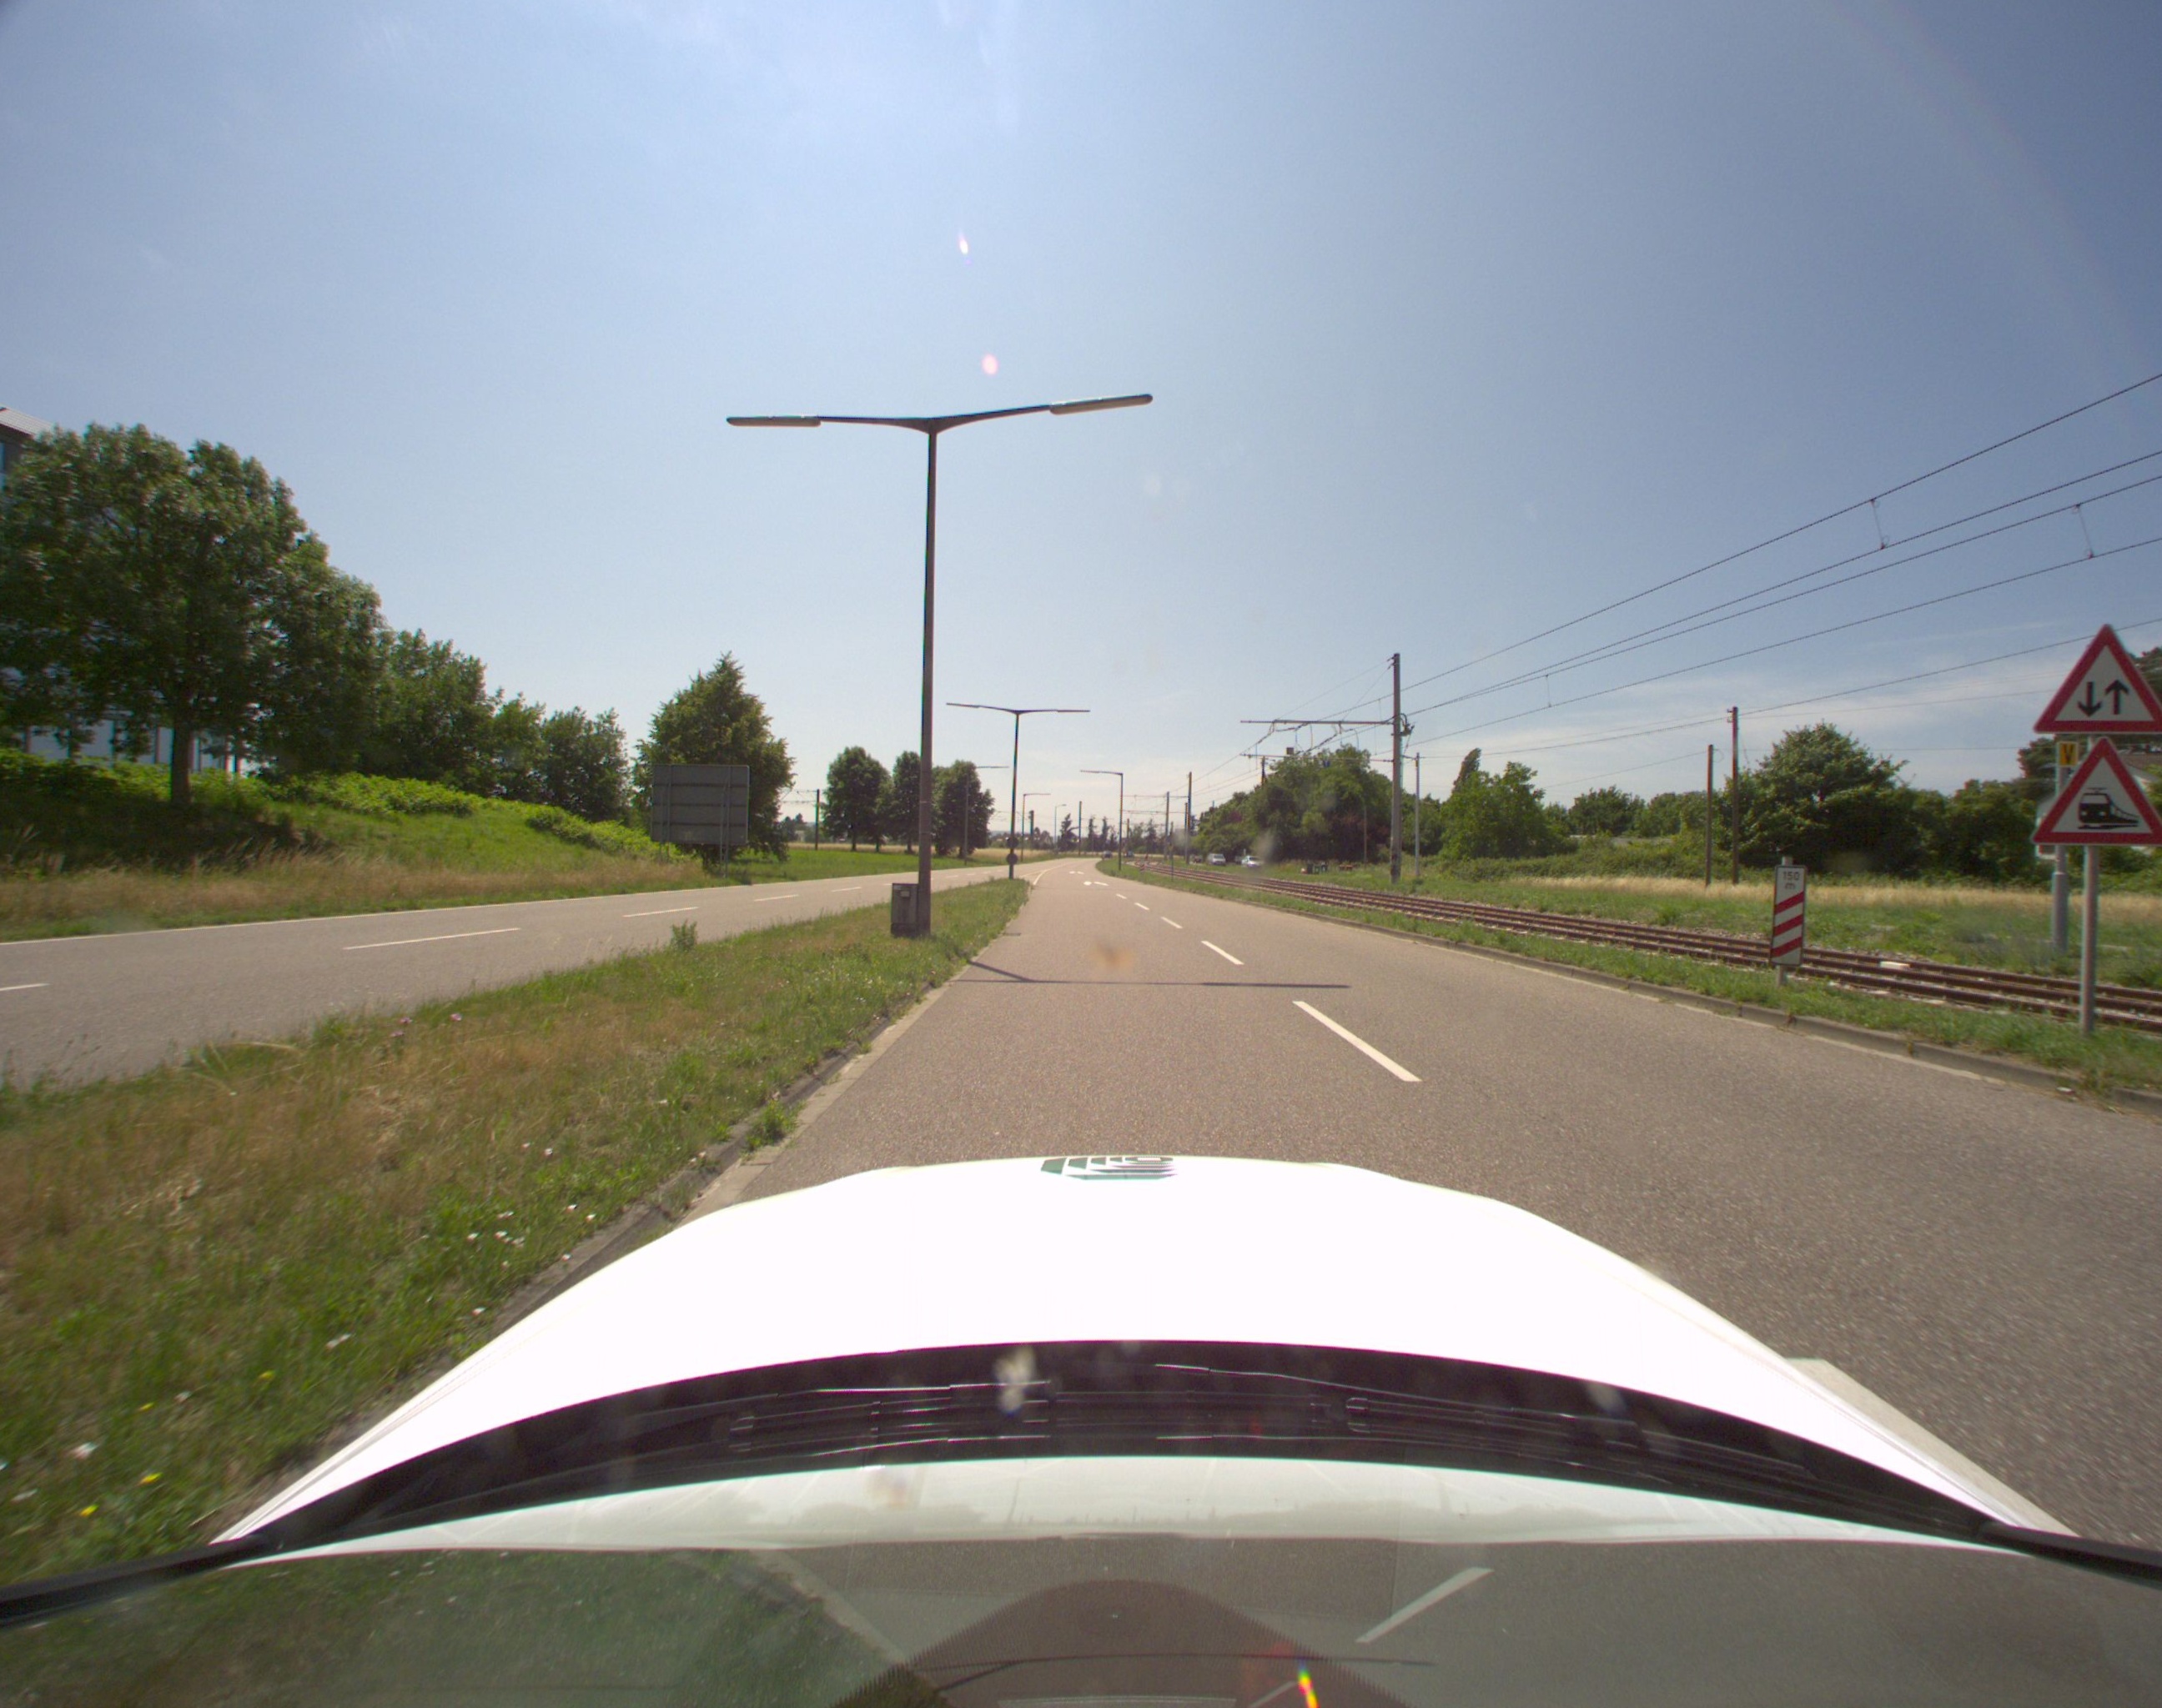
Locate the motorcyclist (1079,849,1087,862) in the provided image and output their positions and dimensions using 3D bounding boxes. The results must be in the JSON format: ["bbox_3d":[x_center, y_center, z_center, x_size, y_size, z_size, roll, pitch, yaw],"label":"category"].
[{"bbox_3d":[0.407,0.298,158.588,1.225,2.351,1.108,3,-1,6],"label":"motorcyclist"}]

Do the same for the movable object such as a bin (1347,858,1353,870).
[{"bbox_3d":[23.871,0.876,72.226,0.446,1.050,0.501,1,0,12],"label":"movable object such as a bin"}]

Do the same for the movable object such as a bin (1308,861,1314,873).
[{"bbox_3d":[20.671,1.130,73.163,0.521,1.050,0.501,1,0,10],"label":"movable object such as a bin"}]

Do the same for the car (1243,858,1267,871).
[{"bbox_3d":[17.070,1.033,79.973,1.559,1.179,3.076,1,0,-3],"label":"car"}]

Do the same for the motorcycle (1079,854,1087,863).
[{"bbox_3d":[0.405,0.841,158.684,0.984,1.580,3.406,3,-1,6],"label":"motorcycle"}]

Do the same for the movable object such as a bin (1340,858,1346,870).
[{"bbox_3d":[23.258,0.886,72.382,0.446,1.050,0.501,1,0,12],"label":"movable object such as a bin"}]

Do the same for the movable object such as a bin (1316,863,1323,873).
[{"bbox_3d":[21.401,1.217,73.055,0.521,0.864,0.501,1,0,10],"label":"movable object such as a bin"}]

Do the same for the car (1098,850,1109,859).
[{"bbox_3d":[4.483,0.136,163.053,1.393,1.771,3.268,3,-1,16],"label":"car"}]

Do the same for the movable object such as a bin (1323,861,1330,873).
[{"bbox_3d":[21.907,1.147,72.737,0.521,1.050,0.501,1,0,10],"label":"movable object such as a bin"}]

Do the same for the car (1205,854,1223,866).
[{"bbox_3d":[16.917,0.736,103.641,1.667,1.397,3.648,3,-1,-1],"label":"car"}]
